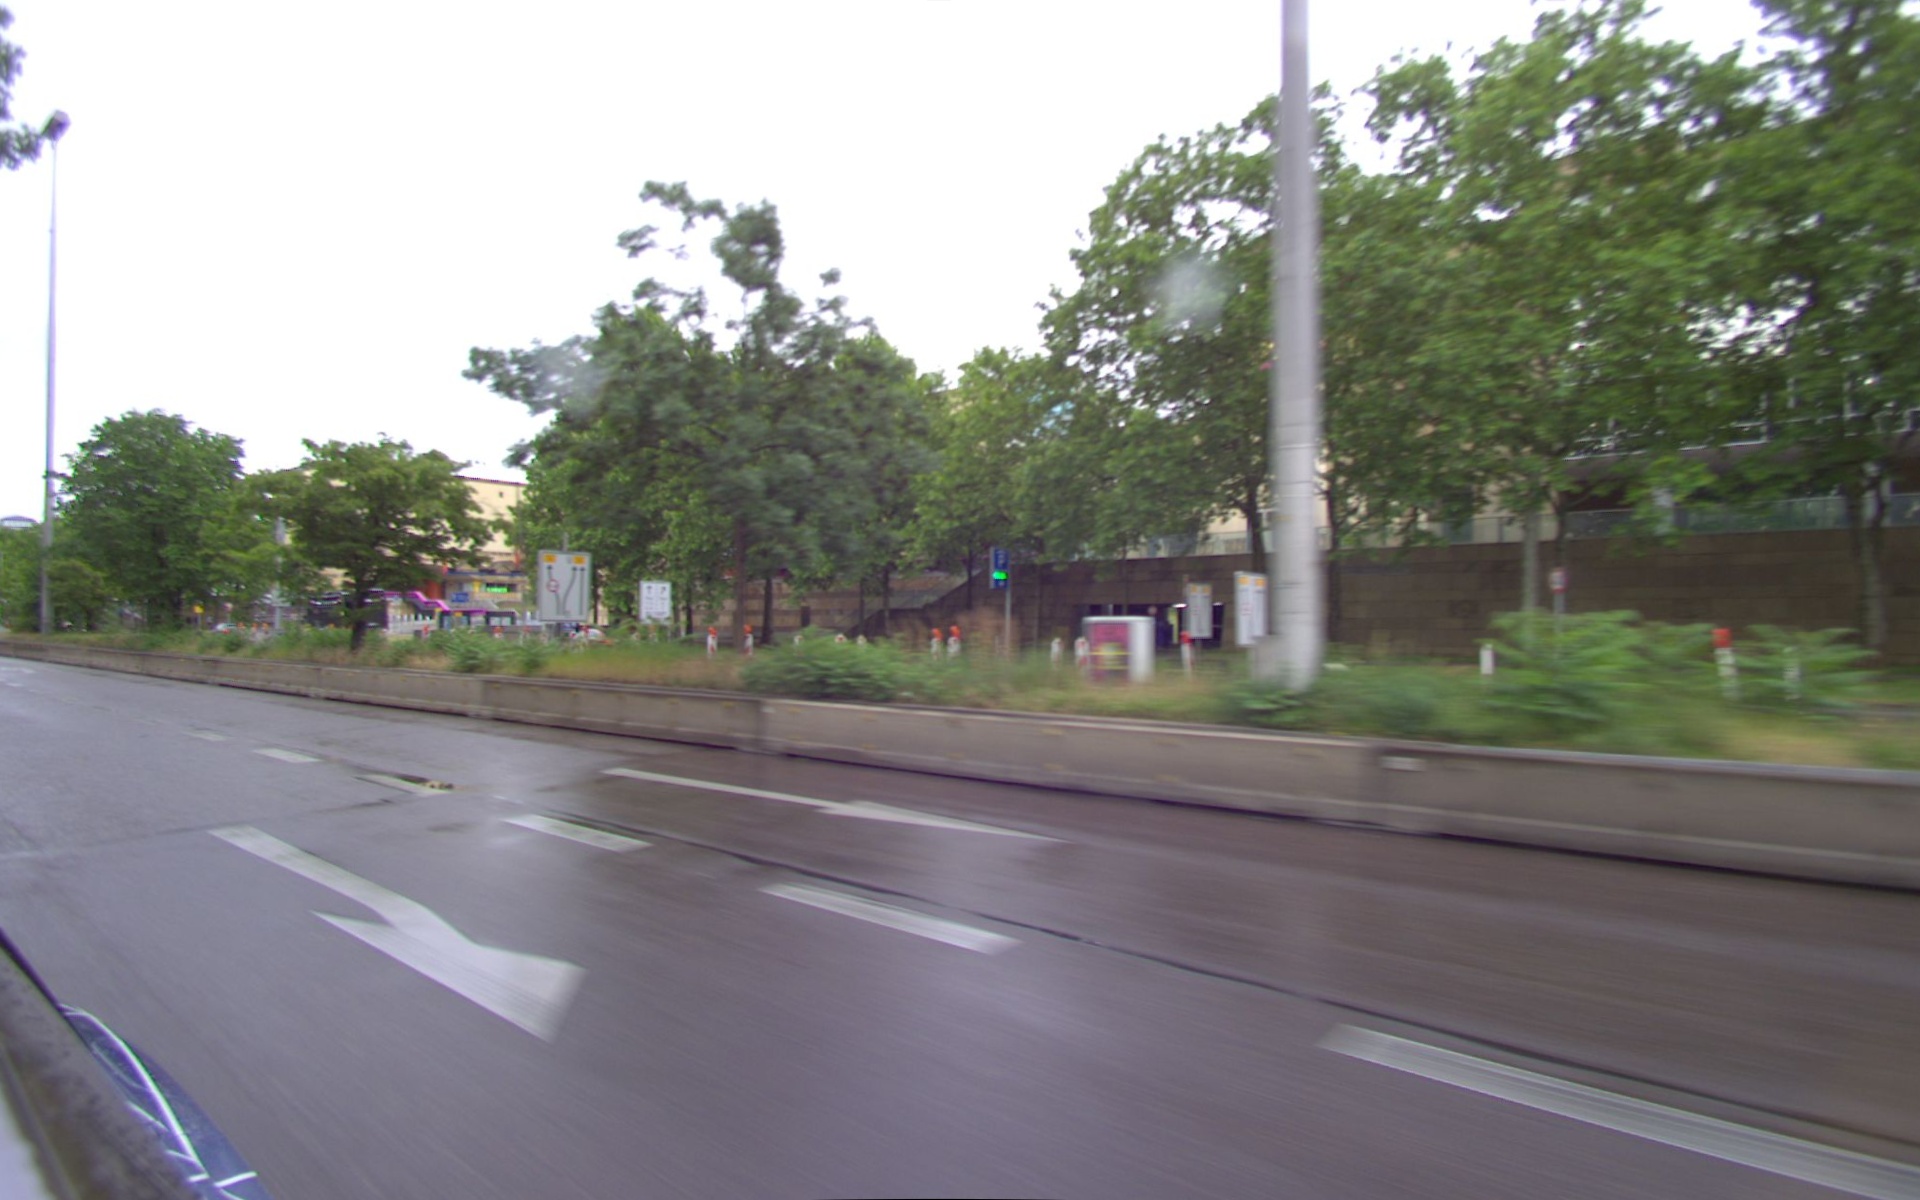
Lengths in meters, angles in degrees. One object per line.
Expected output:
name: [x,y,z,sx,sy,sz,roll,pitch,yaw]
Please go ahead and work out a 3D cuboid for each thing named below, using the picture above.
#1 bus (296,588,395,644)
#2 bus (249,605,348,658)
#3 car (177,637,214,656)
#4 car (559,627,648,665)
bus: [-50.509,1.320,82.909,13.488,4.284,3.086,-1,0,41]
bus: [-52.081,2.416,79.345,14.591,3.840,2.774,-1,0,42]
car: [-63.605,3.853,84.152,3.207,1.512,1.578,-1,-1,35]
car: [-15.959,2.052,45.201,3.997,1.541,1.973,0,-3,40]
